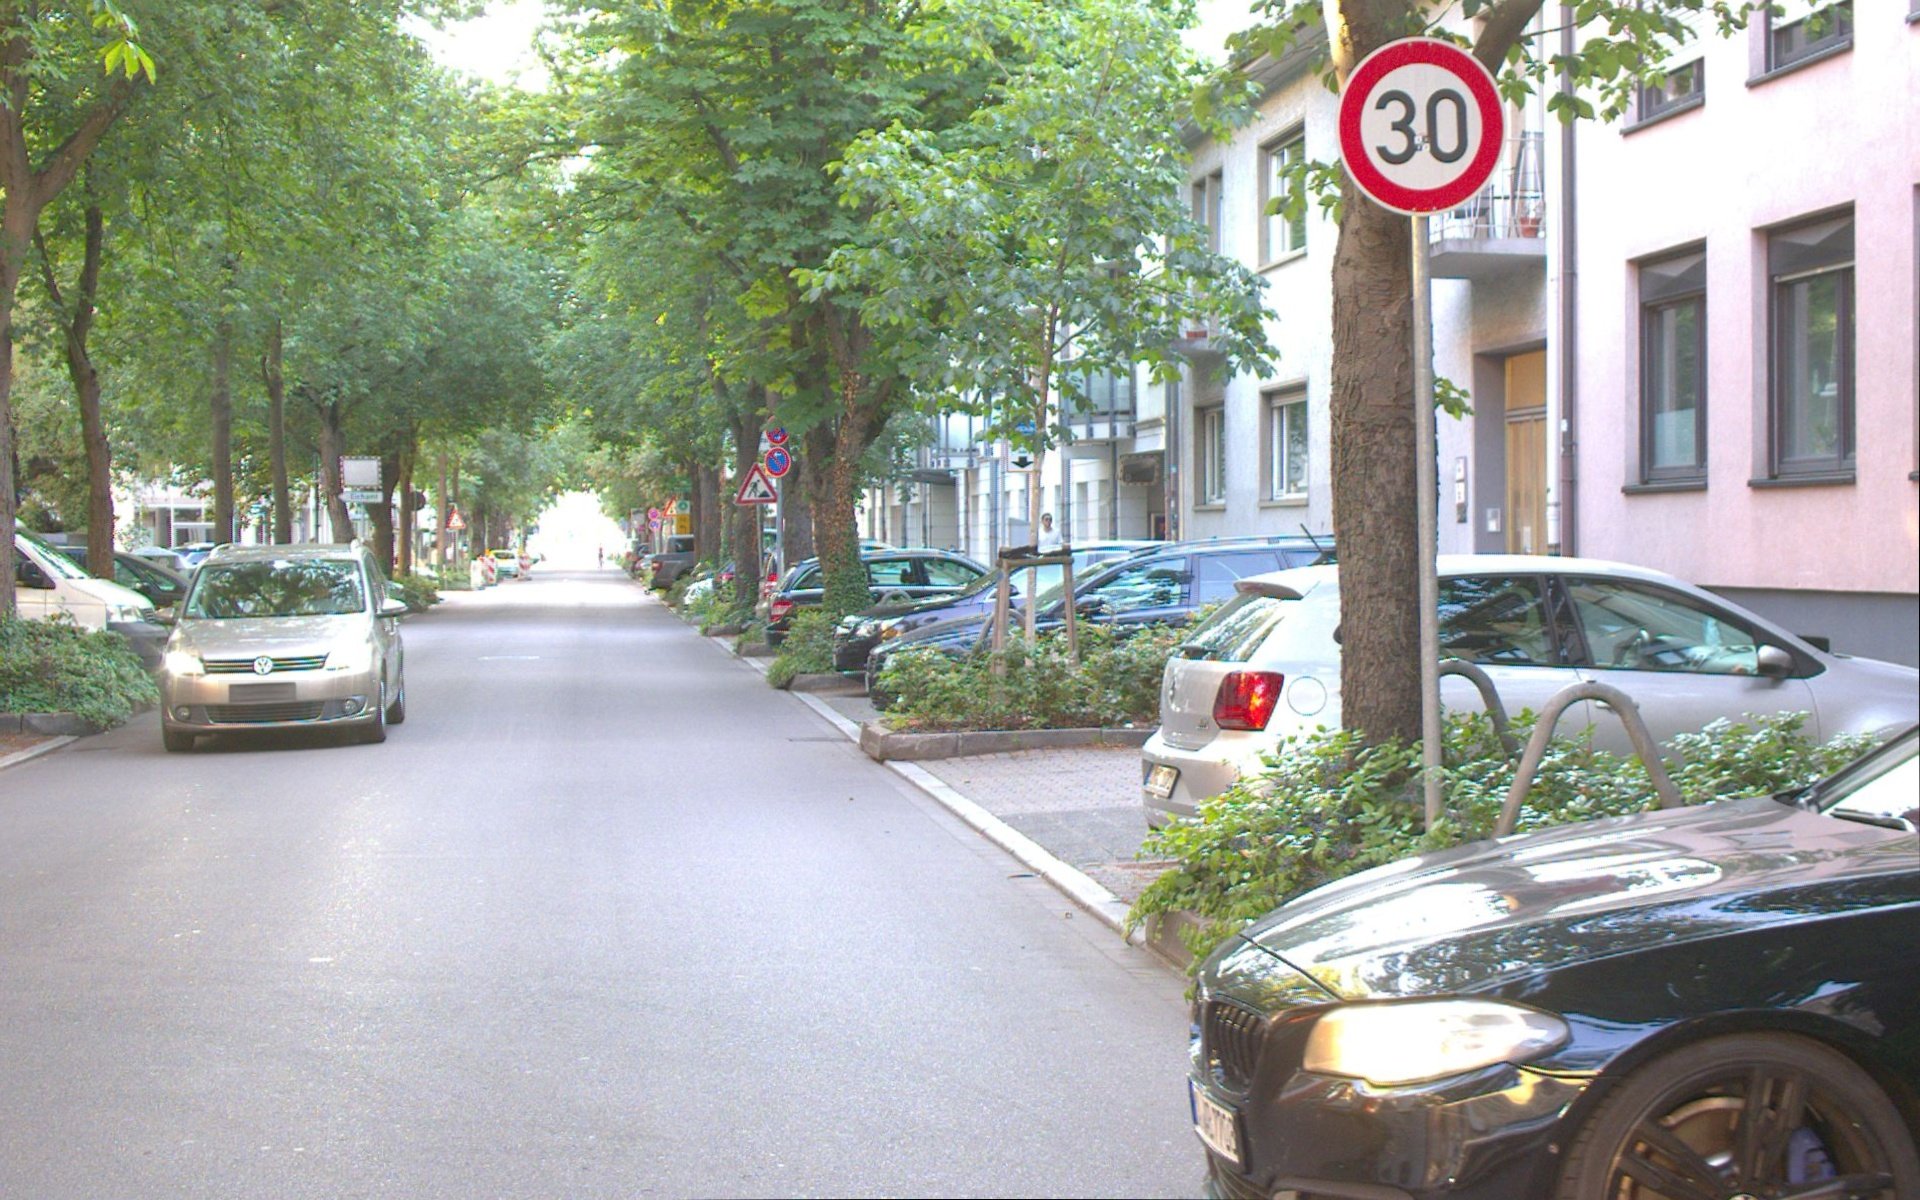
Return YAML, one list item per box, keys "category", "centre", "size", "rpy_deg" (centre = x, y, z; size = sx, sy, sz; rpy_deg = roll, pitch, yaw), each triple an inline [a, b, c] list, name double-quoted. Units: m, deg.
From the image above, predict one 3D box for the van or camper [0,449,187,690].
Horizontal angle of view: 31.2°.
- category: "van or camper"
  centre: [-10.655, -0.326, 36.246]
  size: [4.662, 2.470, 2.000]
  rpy_deg: [0, 1, -6]

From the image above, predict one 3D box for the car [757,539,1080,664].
- category: "car"
  centre: [-0.558, -0.001, 44.033]
  size: [3.967, 1.522, 1.785]
  rpy_deg: [-1, 1, -6]

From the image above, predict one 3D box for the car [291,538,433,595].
- category: "car"
  centre: [-17.607, -0.996, 101.297]
  size: [3.967, 1.614, 1.785]
  rpy_deg: [-1, 1, -5]

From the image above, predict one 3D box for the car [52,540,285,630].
- category: "car"
  centre: [-14.644, -0.288, 63.761]
  size: [3.967, 1.614, 1.785]
  rpy_deg: [-1, 1, -5]

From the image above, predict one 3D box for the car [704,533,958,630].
- category: "car"
  centre: [-2.125, -0.316, 55.917]
  size: [3.967, 1.522, 1.785]
  rpy_deg: [-1, 1, -7]

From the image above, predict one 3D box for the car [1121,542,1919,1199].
- category: "car"
  centre: [2.813, 0.618, 7.009]
  size: [4.744, 1.475, 1.800]
  rpy_deg: [0, 1, -6]

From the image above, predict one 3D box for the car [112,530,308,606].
- category: "car"
  centre: [-16.418, -0.719, 75.384]
  size: [3.967, 1.614, 1.785]
  rpy_deg: [-1, 1, -5]

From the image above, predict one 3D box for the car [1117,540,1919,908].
- category: "car"
  centre: [2.768, 0.487, 15.103]
  size: [3.908, 1.471, 1.665]
  rpy_deg: [-1, 1, -8]

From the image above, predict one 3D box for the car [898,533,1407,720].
- category: "car"
  centre: [1.564, 0.190, 28.714]
  size: [3.967, 1.471, 1.785]
  rpy_deg: [-1, 1, -8]

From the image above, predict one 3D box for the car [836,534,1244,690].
- category: "car"
  centre: [0.782, 0.099, 35.205]
  size: [3.967, 1.522, 1.785]
  rpy_deg: [-1, 1, -6]

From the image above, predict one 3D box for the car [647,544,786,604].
- category: "car"
  centre: [-7.076, -0.763, 99.935]
  size: [3.967, 1.678, 1.785]
  rpy_deg: [-1, 1, -5]

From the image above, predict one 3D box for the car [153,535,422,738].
- category: "car"
  centre: [-5.540, 0.242, 28.740]
  size: [1.779, 1.557, 4.169]
  rpy_deg: [0, 1, -5]

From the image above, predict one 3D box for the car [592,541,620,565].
- category: "car"
  centre: [-23.131, -3.093, 224.731]
  size: [1.822, 1.525, 4.001]
  rpy_deg: [0, 1, -5]

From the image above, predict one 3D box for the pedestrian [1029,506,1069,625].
- category: "pedestrian"
  centre: [1.516, -0.594, 58.577]
  size: [0.589, 2.007, 0.669]
  rpy_deg: [-1, 1, -5]

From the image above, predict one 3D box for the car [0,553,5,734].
- category: "car"
  centre: [-9.958, 0.397, 27.931]
  size: [3.967, 1.512, 1.785]
  rpy_deg: [-1, 1, -5]

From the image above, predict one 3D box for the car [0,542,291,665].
- category: "car"
  centre: [-11.313, 0.033, 47.253]
  size: [3.967, 1.614, 1.785]
  rpy_deg: [-1, 1, -5]
